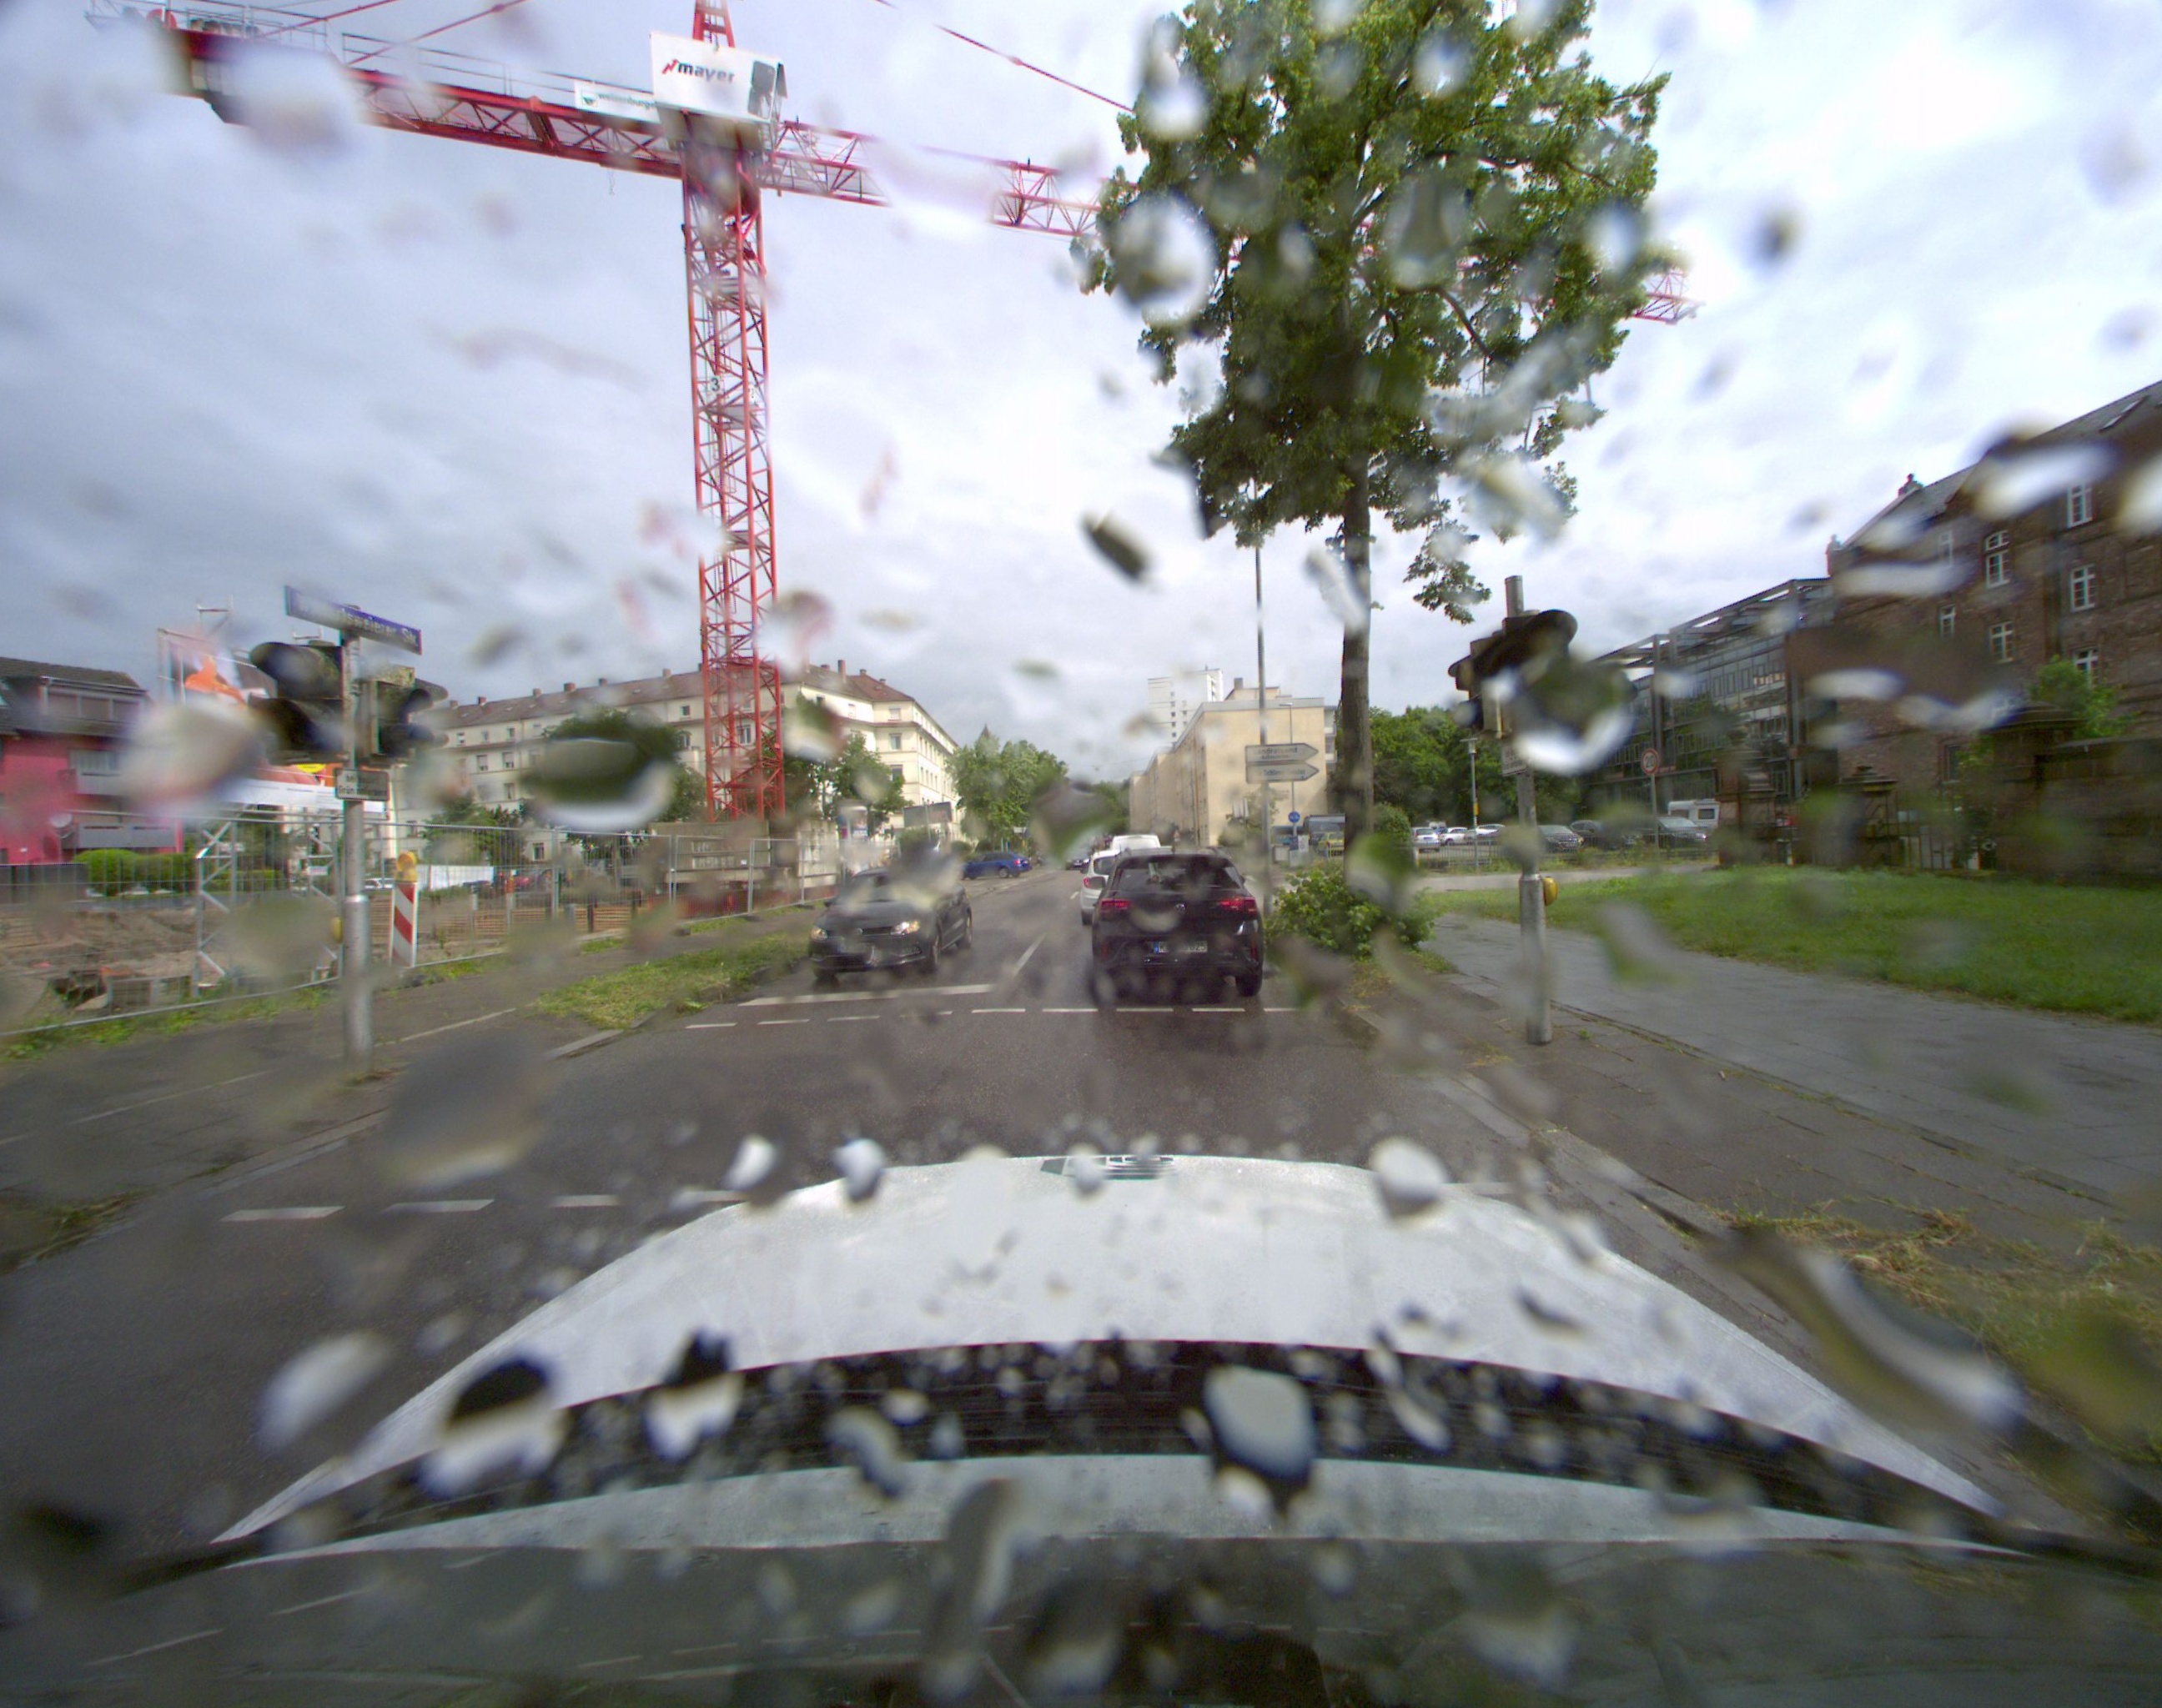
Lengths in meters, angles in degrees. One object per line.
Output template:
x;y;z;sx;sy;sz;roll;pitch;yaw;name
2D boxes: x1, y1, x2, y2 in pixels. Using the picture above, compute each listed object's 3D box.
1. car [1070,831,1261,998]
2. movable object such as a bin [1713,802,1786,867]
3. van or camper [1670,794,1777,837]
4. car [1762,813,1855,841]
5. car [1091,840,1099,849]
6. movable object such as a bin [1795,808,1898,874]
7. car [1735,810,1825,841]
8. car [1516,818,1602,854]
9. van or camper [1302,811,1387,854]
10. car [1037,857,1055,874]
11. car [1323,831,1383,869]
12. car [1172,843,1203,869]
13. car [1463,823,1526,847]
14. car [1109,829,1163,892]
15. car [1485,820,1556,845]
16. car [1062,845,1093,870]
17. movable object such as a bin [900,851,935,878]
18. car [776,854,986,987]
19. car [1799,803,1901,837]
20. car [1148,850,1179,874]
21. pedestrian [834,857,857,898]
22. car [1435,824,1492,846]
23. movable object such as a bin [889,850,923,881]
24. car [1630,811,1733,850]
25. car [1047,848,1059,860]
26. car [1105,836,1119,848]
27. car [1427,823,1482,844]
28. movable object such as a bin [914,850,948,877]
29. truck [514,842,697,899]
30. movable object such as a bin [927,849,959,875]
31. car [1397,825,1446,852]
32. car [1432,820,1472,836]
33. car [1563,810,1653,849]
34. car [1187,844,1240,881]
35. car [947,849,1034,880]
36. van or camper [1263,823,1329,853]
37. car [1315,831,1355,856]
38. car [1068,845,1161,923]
0.909;0.607;10.099;1.866;1.645;4.064;-1;0;2;car
15.855;-0.460;19.347;0.796;1.457;1.098;-4;0;3;movable object such as a bin
39.669;-2.338;50.376;4.768;2.486;2.259;0;-1;1;van or camper
40.475;-1.496;45.354;3.650;1.486;1.674;0;0;3;car
3.100;-2.161;181.814;1.660;1.837;4.000;-3;1;0;car
18.254;-0.306;19.462;1.101;1.457;1.392;-4;1;3;movable object such as a bin
40.615;-1.640;47.385;3.651;1.576;1.674;-3;0;3;car
22.477;-0.826;38.514;1.819;1.527;4.432;-3;0;7;car
17.492;-1.408;54.234;4.977;2.554;2.177;-2;-1;3;van or camper
-3.420;1.096;79.470;1.582;1.505;4.061;-4;0;-2;car
13.727;-0.211;41.335;1.795;1.749;4.243;-3;0;4;car
6.599;0.156;50.772;1.748;1.528;4.006;1;-1;6;car
29.792;-1.360;58.730;3.649;1.486;1.642;-3;0;5;car
1.994;0.224;29.427;1.828;2.103;4.004;-1;0;4;car
30.314;-1.459;56.213;3.957;1.465;1.674;-3;0;3;car
-0.190;0.219;57.584;1.833;1.608;4.004;-4;0;3;car
-10.536;0.673;52.522;1.524;1.656;1.536;-3;1;21;movable object such as a bin
-2.688;0.824;11.950;1.805;1.540;3.986;-2;1;4;car
40.395;-1.776;42.820;3.651;1.524;1.674;-3;0;3;car
6.277;0.632;62.285;1.744;1.508;4.108;-2;-3;-2;car
-9.398;0.925;32.503;0.727;1.629;0.677;0;-1;-36;pedestrian
30.085;-1.513;64.090;3.649;1.486;1.642;-3;0;5;car
-10.948;0.700;50.991;1.524;1.824;1.270;-3;1;21;movable object such as a bin
28.440;-1.082;38.781;1.845;1.679;4.429;-3;0;4;car
-3.978;0.016;115.673;1.582;1.639;3.917;-4;0;-2;car
4.561;-1.782;118.854;1.833;1.608;3.679;-4;0;3;car
30.475;-1.673;66.498;3.649;1.486;1.642;-3;0;5;car
-9.941;0.614;54.070;1.524;1.674;1.674;-3;1;21;movable object such as a bin
-29.194;1.000;50.131;9.741;3.184;3.807;-1;1;14;truck
-9.379;0.534;55.573;1.524;1.661;1.466;-3;1;21;movable object such as a bin
20.835;-0.948;50.001;1.641;1.486;3.724;-3;0;5;car
36.342;-2.548;79.837;3.209;1.397;1.511;-3;0;5;car
24.835;-1.124;38.591;1.843;1.679;4.433;-3;0;8;car
6.313;0.369;39.267;1.768;1.539;4.378;-5;0;1;car
-5.040;0.564;45.340;4.400;1.585;1.829;-1;1;15;car
16.997;-1.287;64.592;4.736;2.131;2.325;-2;1;5;van or camper
15.757;-0.644;50.678;1.603;1.448;3.421;-3;0;4;car
0.734;0.598;17.858;1.806;1.503;4.002;0;0;2;car
